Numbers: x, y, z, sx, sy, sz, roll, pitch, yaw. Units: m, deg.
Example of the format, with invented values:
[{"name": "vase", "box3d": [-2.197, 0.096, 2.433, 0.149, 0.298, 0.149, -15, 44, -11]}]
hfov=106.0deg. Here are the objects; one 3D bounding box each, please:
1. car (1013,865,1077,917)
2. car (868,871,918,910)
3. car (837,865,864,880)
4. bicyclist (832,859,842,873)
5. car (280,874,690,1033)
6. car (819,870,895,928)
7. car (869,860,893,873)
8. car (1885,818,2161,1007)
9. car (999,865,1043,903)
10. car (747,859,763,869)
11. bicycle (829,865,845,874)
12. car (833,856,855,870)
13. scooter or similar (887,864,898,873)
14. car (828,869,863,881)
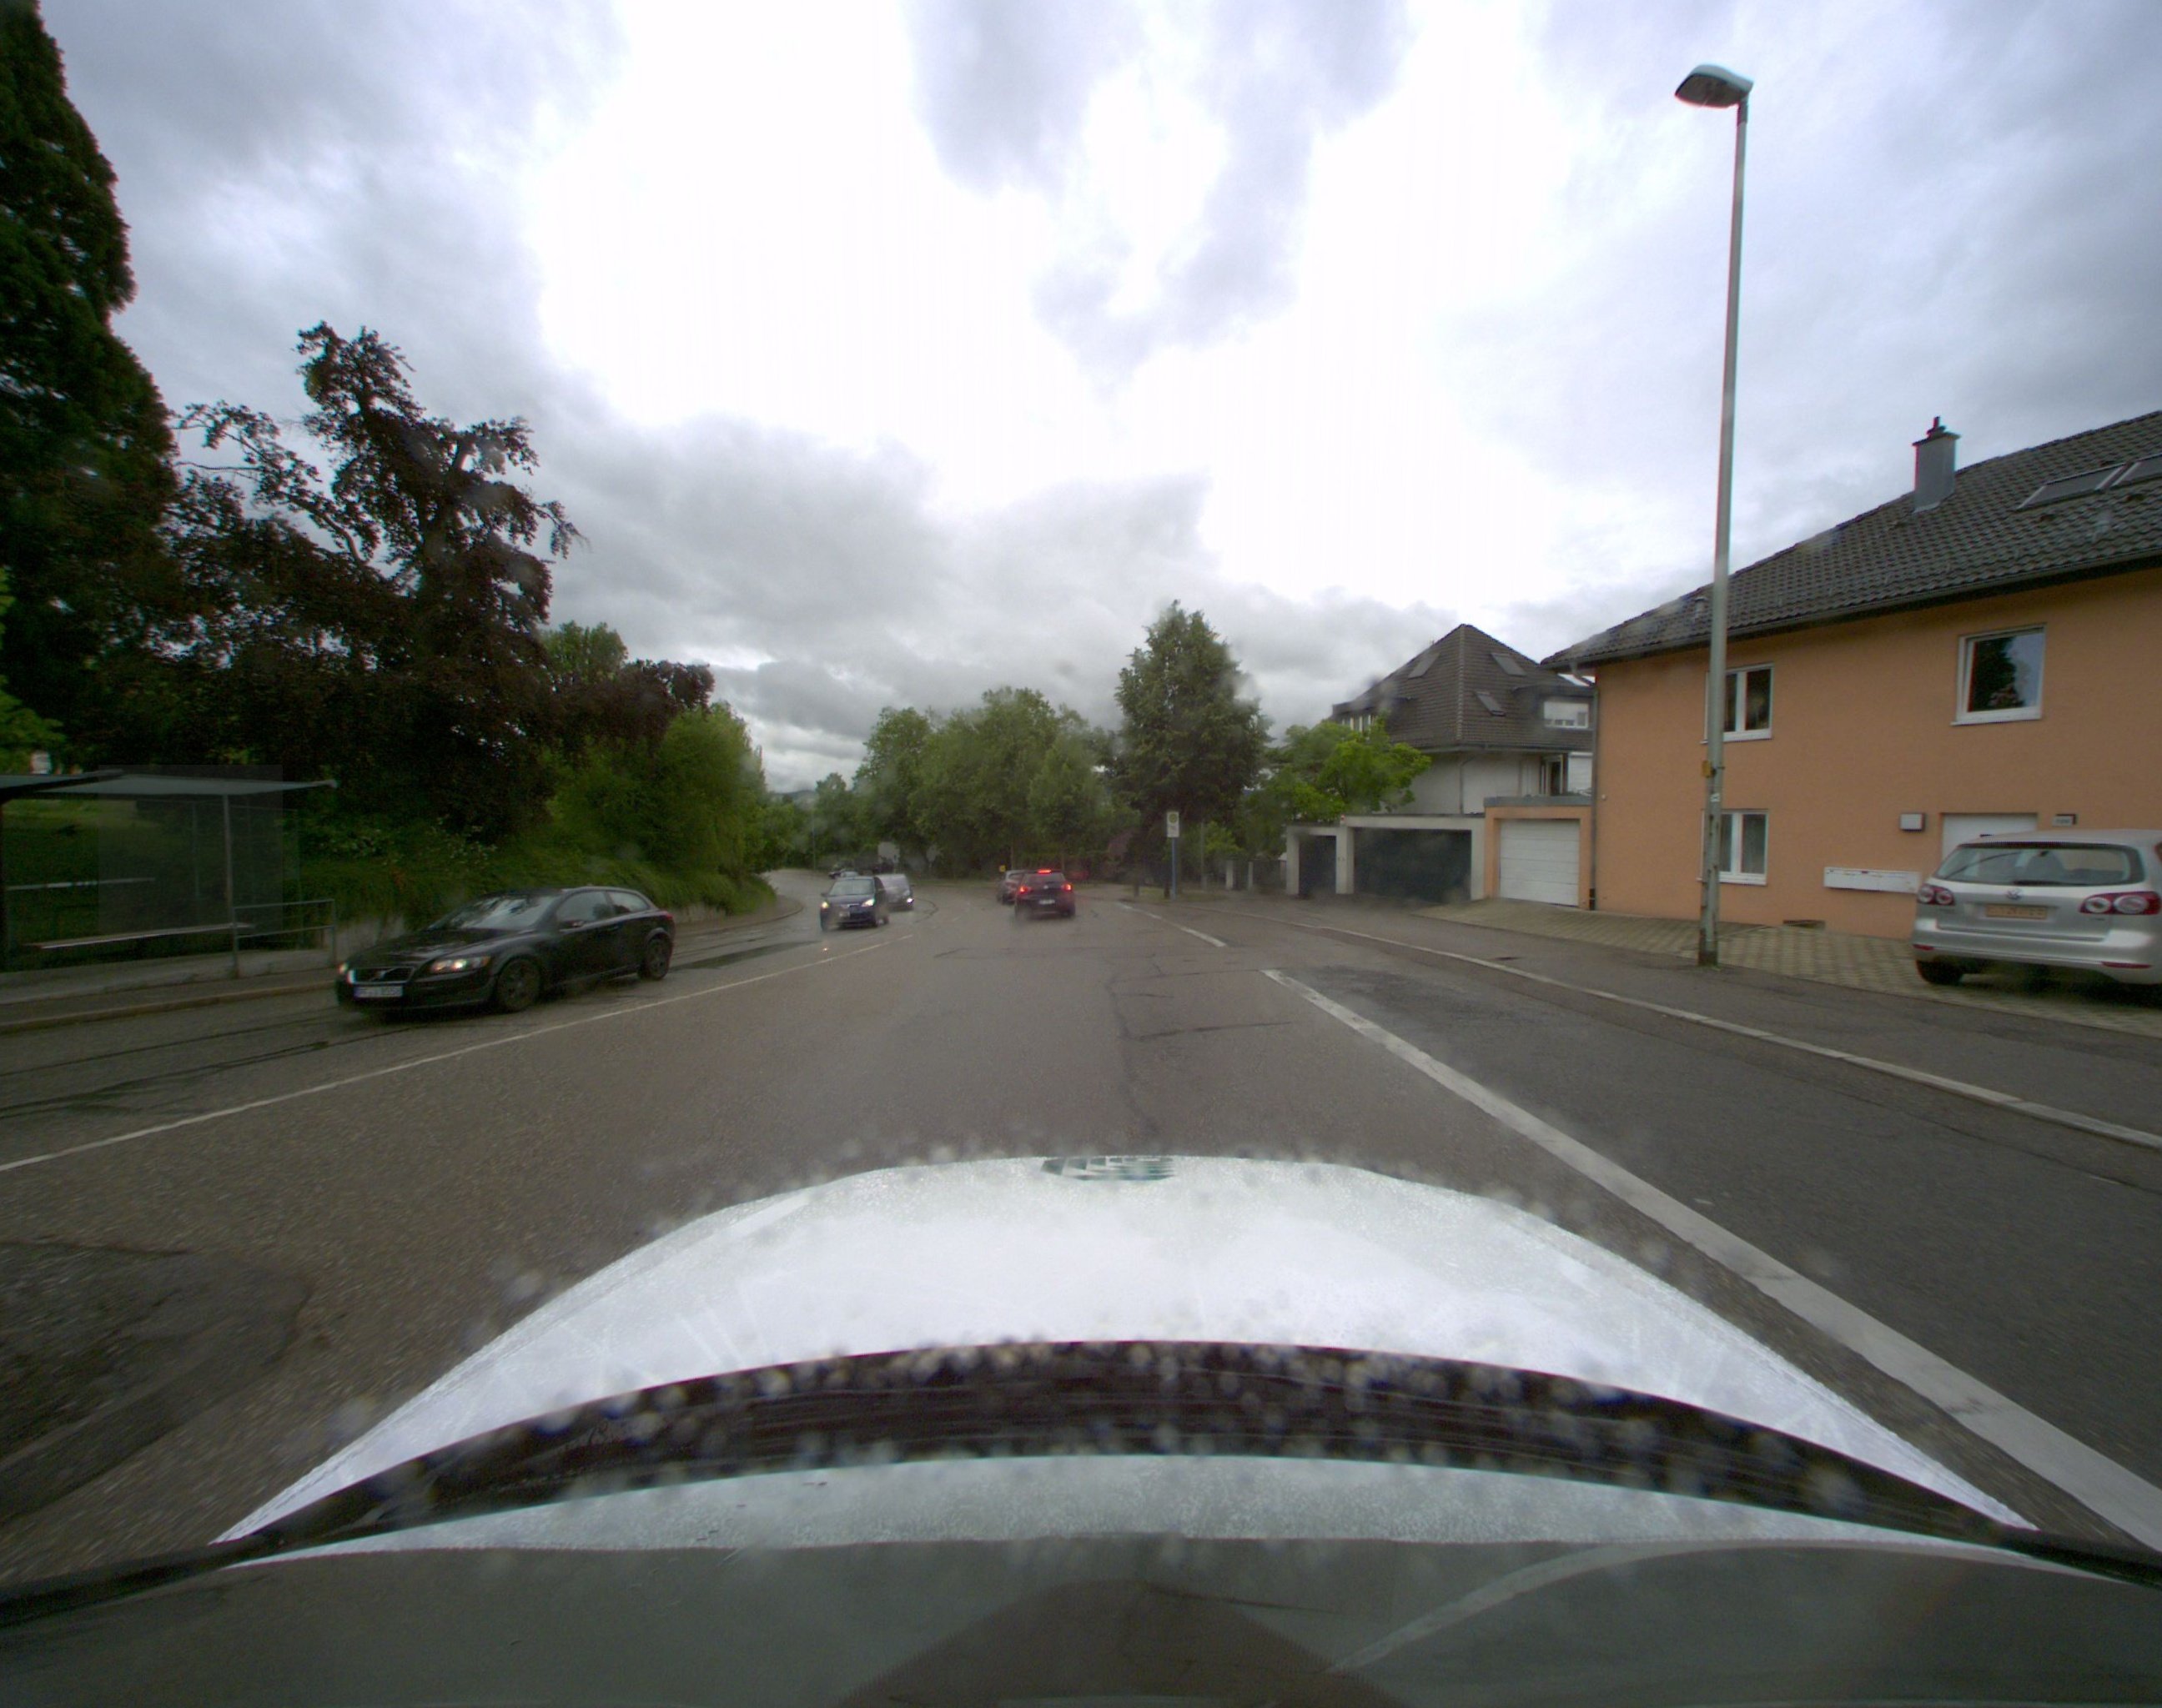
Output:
[{"name": "car", "box3d": [-1.197, 1.101, 25.492, 1.720, 1.464, 3.991, -2, -1, -6]}, {"name": "car", "box3d": [-8.330, 1.556, 36.466, 1.810, 1.577, 4.671, -2, -1, -9]}, {"name": "car", "box3d": [-23.251, 1.863, 82.123, 1.732, 1.464, 3.962, 2, -1, -29]}, {"name": "bicyclist", "box3d": [-32.570, 1.611, 108.692, 1.283, 1.755, 0.850, -2, 0, -14]}, {"name": "car", "box3d": [-7.043, 1.052, 10.368, 1.783, 1.446, 4.406, -2, 0, 3]}, {"name": "car", "box3d": [-6.764, 1.308, 24.982, 1.721, 1.464, 4.363, -2, 0, -9]}, {"name": "car", "box3d": [-28.304, 1.711, 115.339, 1.742, 1.469, 4.575, 1, 3, 6]}, {"name": "car", "box3d": [10.409, 0.437, 8.275, 3.871, 1.566, 1.715, -2, 0, -21]}, {"name": "car", "box3d": [-2.756, 1.306, 36.595, 1.753, 1.464, 3.990, -2, 0, -7]}, {"name": "car", "box3d": [-48.589, 1.455, 121.338, 1.732, 1.464, 3.962, 2, -1, -29]}, {"name": "bicycle", "box3d": [-32.549, 2.058, 108.687, 2.034, 1.155, 0.850, -2, 0, -14]}, {"name": "car", "box3d": [-33.562, 1.302, 115.283, 1.943, 1.689, 4.899, 1, 3, -3]}, {"name": "scooter or similar", "box3d": [-26.311, 2.038, 113.822, 1.346, 1.285, 0.555, -3, 1, -38]}, {"name": "car", "box3d": [-30.025, 2.673, 103.764, 4.141, 1.384, 1.715, -1, -1, -21]}]
